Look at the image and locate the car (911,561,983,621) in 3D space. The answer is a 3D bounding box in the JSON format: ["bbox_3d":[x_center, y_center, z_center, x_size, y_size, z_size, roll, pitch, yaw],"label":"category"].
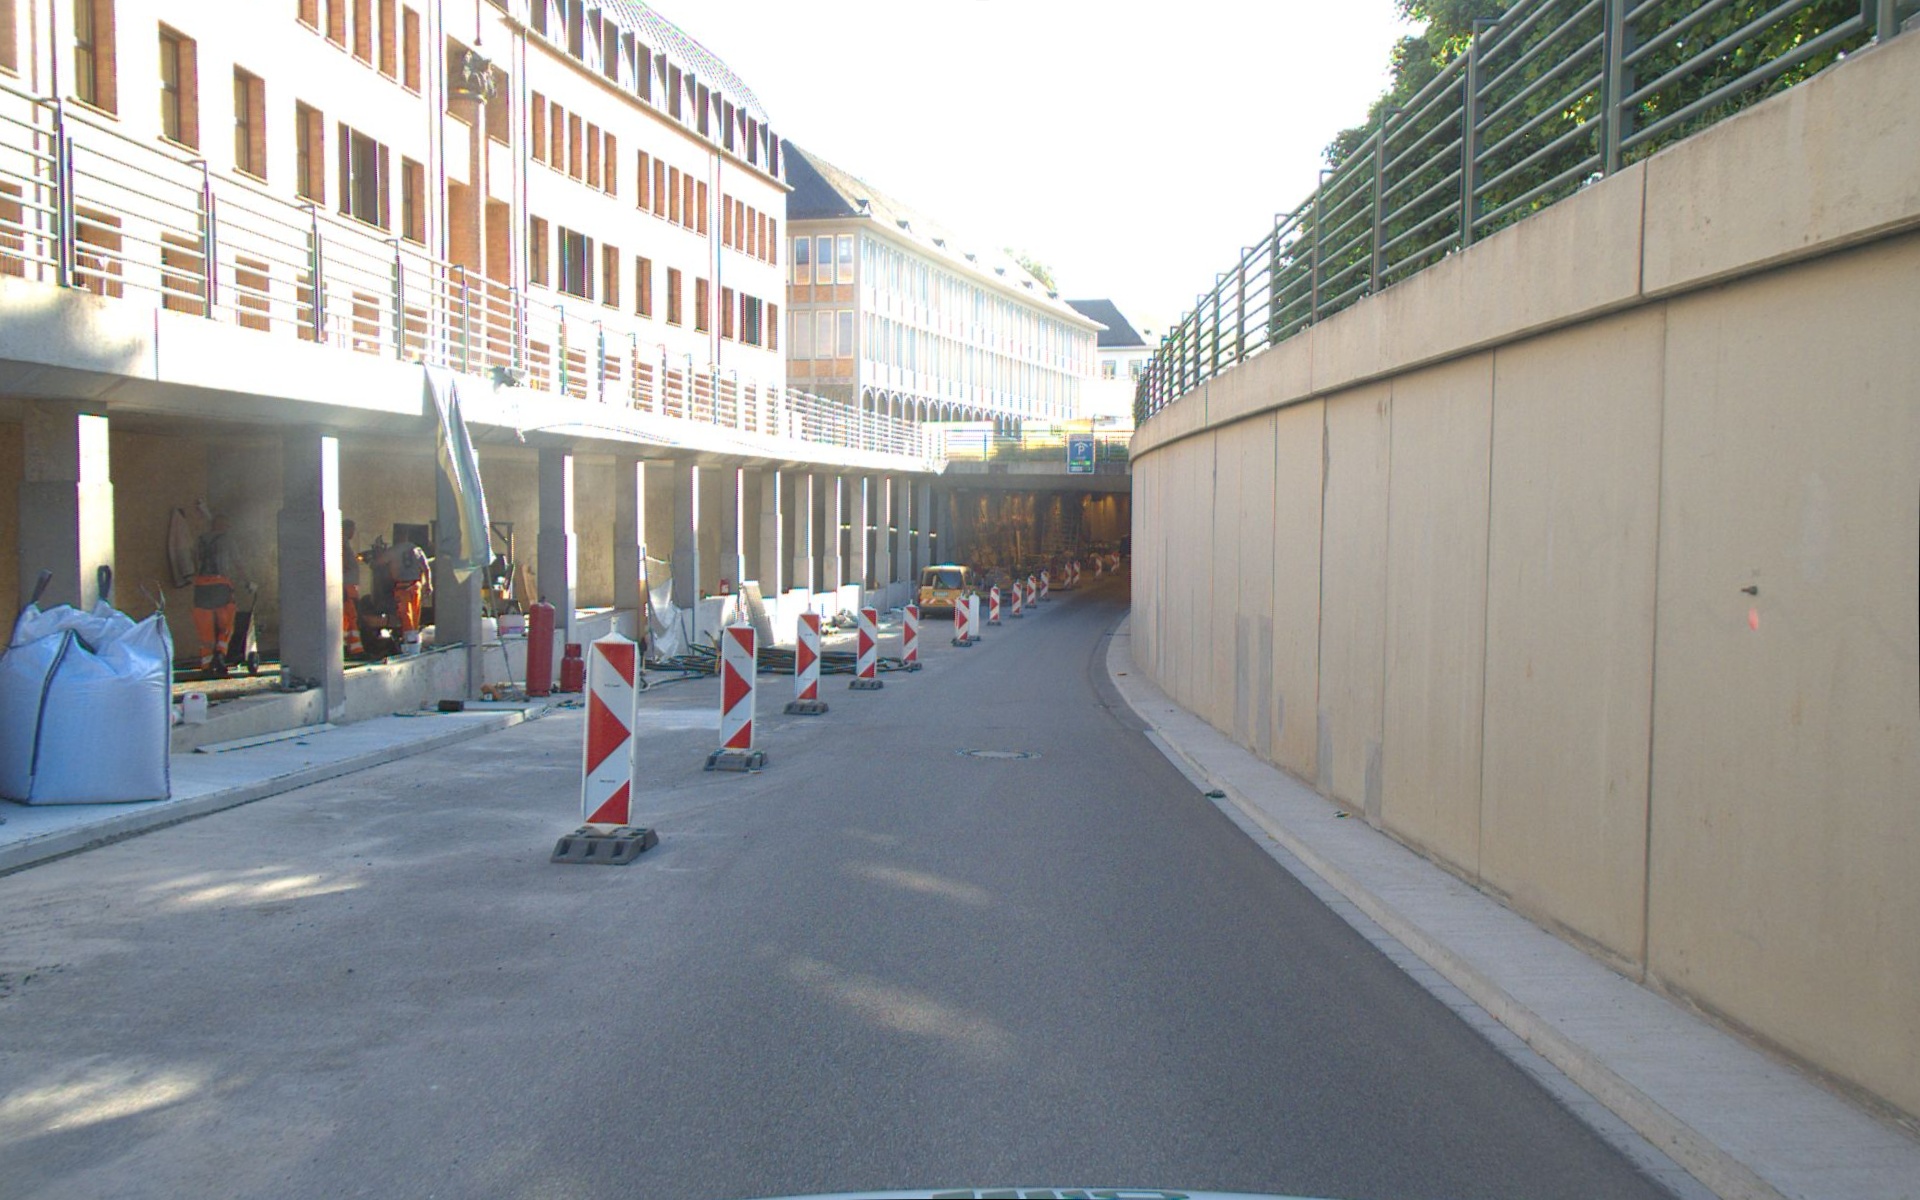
[{"bbox_3d":[-0.413,-0.351,57.112,1.809,1.806,4.439,2,3,8],"label":"car"}]

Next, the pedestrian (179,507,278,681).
[{"bbox_3d":[-8.675,-0.072,19.649,0.663,1.991,0.937,2,0,2],"label":"pedestrian"}]

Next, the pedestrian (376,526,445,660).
[{"bbox_3d":[-7.699,-0.097,23.185,0.643,1.836,0.625,2,0,10],"label":"pedestrian"}]

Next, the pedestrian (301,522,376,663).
[{"bbox_3d":[-8.379,-0.107,22.322,0.690,1.846,0.710,2,0,0],"label":"pedestrian"}]

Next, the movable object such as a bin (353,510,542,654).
[{"bbox_3d":[-7.753,-0.289,25.311,1.847,2.021,3.159,1,1,0],"label":"movable object such as a bin"}]

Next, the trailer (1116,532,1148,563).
[{"bbox_3d":[11.125,-3.399,106.636,1.547,1.828,2.942,3,4,15],"label":"trailer"}]
